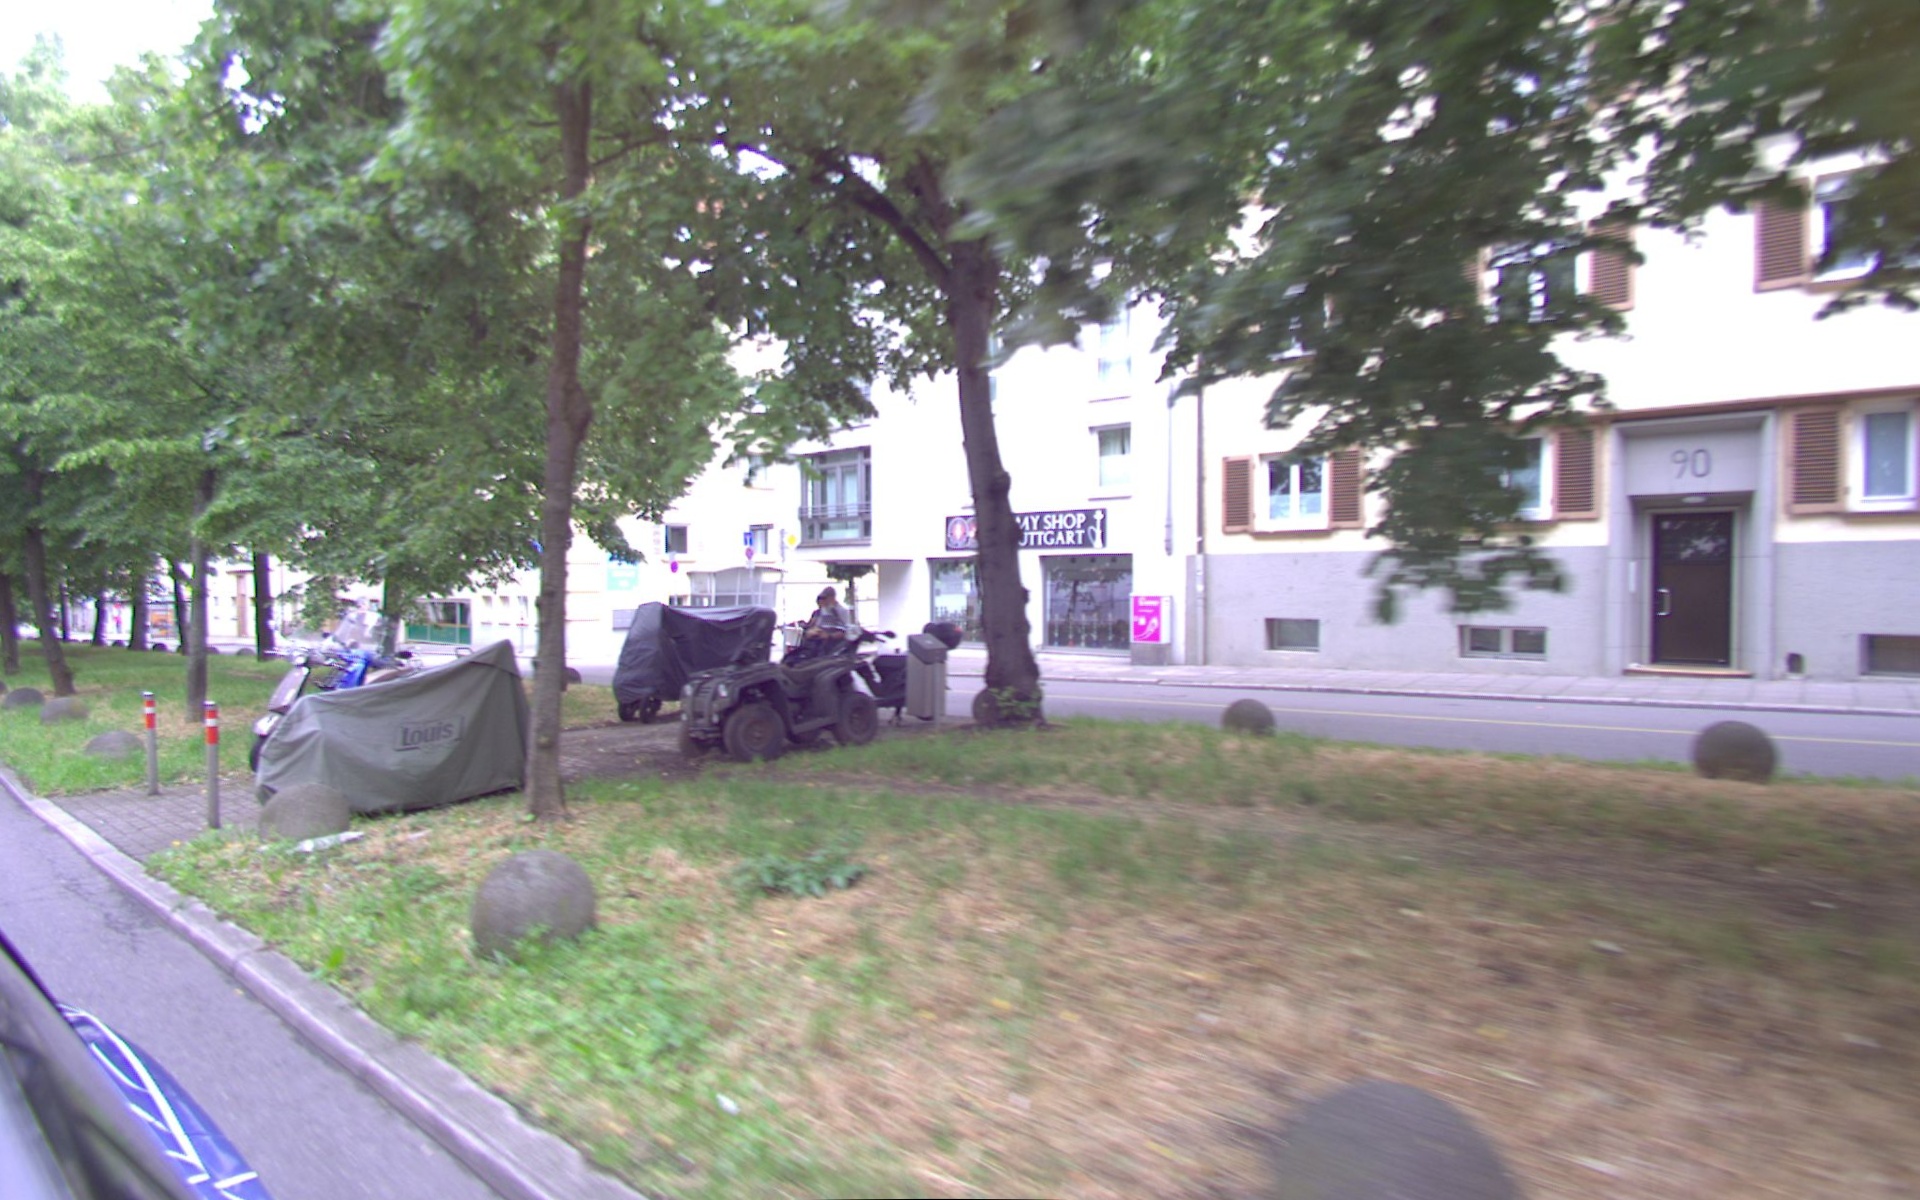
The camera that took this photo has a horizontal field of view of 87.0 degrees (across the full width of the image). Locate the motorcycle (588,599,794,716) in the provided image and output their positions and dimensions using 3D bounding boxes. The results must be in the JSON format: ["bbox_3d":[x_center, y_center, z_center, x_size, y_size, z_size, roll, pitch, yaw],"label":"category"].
[{"bbox_3d":[-3.390,0.680,12.967,1.045,1.327,2.358,-2,-1,39],"label":"motorcycle"}]

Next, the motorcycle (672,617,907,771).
[{"bbox_3d":[-1.564,0.814,9.534,2.005,1.245,0.897,-1,-1,-44],"label":"motorcycle"}]

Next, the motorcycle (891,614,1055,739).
[{"bbox_3d":[0.192,0.791,11.254,0.622,1.245,2.108,0,0,40],"label":"motorcycle"}]

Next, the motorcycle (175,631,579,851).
[{"bbox_3d":[-4.155,0.906,7.405,1.032,1.245,2.332,-3,-1,39],"label":"motorcycle"}]

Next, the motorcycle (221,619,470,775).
[{"bbox_3d":[-5.950,0.870,9.899,0.893,1.306,1.905,1,1,39],"label":"motorcycle"}]

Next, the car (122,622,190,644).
[{"bbox_3d":[-68.774,2.819,86.620,2.048,1.430,4.242,-3,2,43],"label":"car"}]

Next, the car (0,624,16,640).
[{"bbox_3d":[-102.821,3.463,108.501,4.362,1.641,1.929,-2,-1,41],"label":"car"}]

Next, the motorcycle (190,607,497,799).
[{"bbox_3d":[-5.440,0.824,9.057,0.874,1.449,2.170,-2,0,43],"label":"motorcycle"}]

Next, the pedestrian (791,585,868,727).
[{"bbox_3d":[-1.561,0.650,12.127,0.579,1.628,0.656,-2,0,39],"label":"pedestrian"}]

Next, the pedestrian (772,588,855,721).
[{"bbox_3d":[-1.865,0.674,12.897,0.762,1.625,0.629,-2,0,33],"label":"pedestrian"}]

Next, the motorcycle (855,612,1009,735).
[{"bbox_3d":[-0.279,0.796,11.716,0.516,1.245,2.089,-2,-1,39],"label":"motorcycle"}]

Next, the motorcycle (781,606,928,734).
[{"bbox_3d":[-1.171,0.748,11.597,0.624,1.349,1.745,-1,-1,39],"label":"motorcycle"}]
